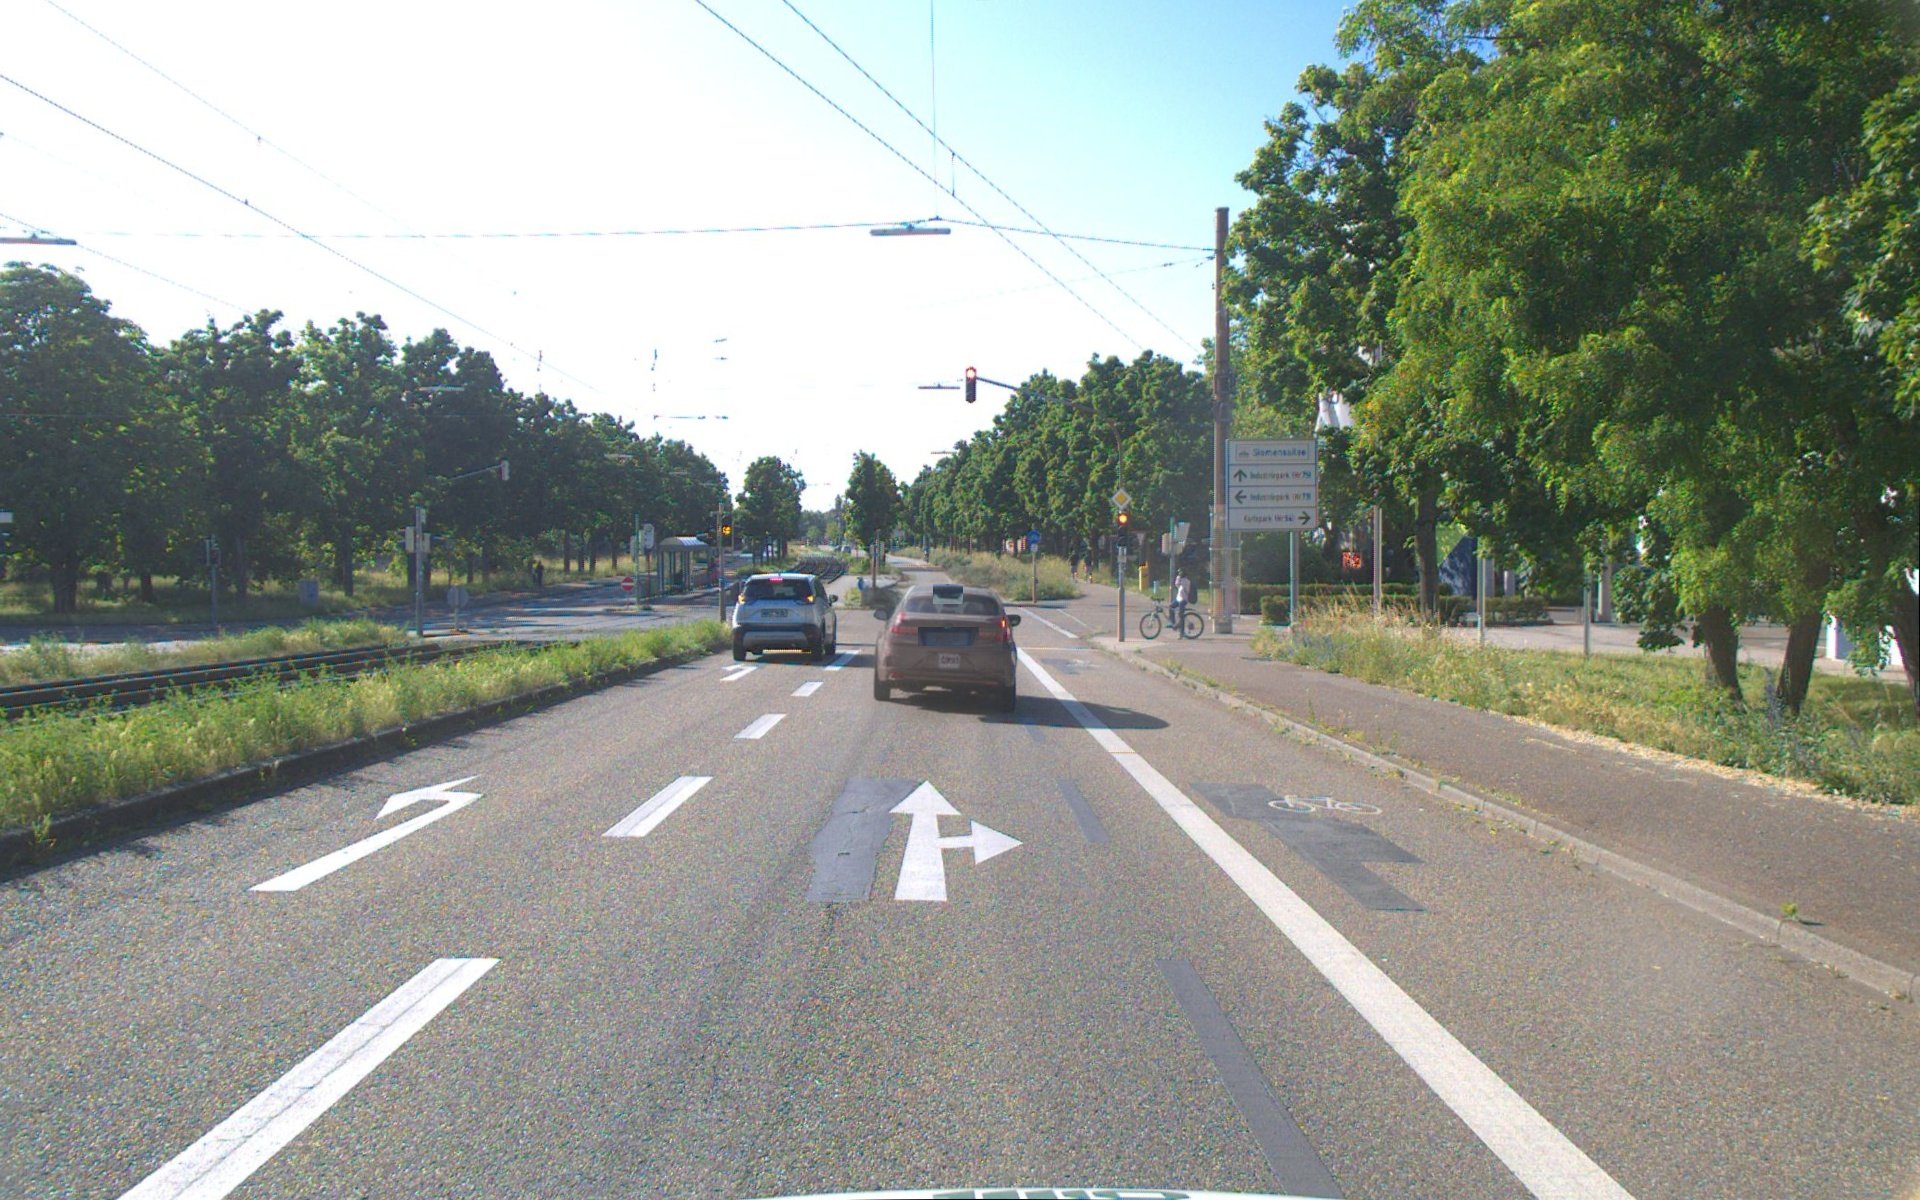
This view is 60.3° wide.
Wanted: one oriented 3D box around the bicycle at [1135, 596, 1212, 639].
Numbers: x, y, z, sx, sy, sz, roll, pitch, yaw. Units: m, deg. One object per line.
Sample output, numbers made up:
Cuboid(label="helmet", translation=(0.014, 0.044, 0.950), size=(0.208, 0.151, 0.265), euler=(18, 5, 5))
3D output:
Cuboid(label="bicycle", translation=(5.462, 0.440, 42.252), size=(1.879, 1.015, 0.765), euler=(-2, 0, 10))

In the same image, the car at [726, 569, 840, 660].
Cuboid(label="car", translation=(-3.373, 0.238, 32.172), size=(1.813, 1.634, 4.254), euler=(0, 1, -1))

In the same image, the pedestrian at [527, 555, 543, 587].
Cuboid(label="pedestrian", translation=(-27.159, -1.868, 105.789), size=(0.823, 2.049, 0.863), euler=(0, 1, -2))

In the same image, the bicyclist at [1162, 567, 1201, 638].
Cuboid(label="bicyclist", translation=(5.657, 0.059, 42.213), size=(0.890, 1.775, 0.765), euler=(-1, 0, 10))

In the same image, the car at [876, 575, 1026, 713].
Cuboid(label="car", translation=(-0.086, 0.467, 20.661), size=(1.672, 1.535, 4.000), euler=(1, 1, 0))

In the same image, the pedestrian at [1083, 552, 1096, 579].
Cuboid(label="pedestrian", translation=(7.857, -2.102, 100.338), size=(0.664, 1.638, 0.720), euler=(1, 0, -3))

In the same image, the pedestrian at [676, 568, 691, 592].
Cuboid(label="pedestrian", translation=(-14.758, -1.069, 88.353), size=(0.706, 1.267, 0.710), euler=(-1, 1, -2))

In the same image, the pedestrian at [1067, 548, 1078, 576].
Cuboid(label="pedestrian", translation=(6.837, -2.300, 100.226), size=(0.556, 1.624, 0.665), euler=(1, 0, -4))
